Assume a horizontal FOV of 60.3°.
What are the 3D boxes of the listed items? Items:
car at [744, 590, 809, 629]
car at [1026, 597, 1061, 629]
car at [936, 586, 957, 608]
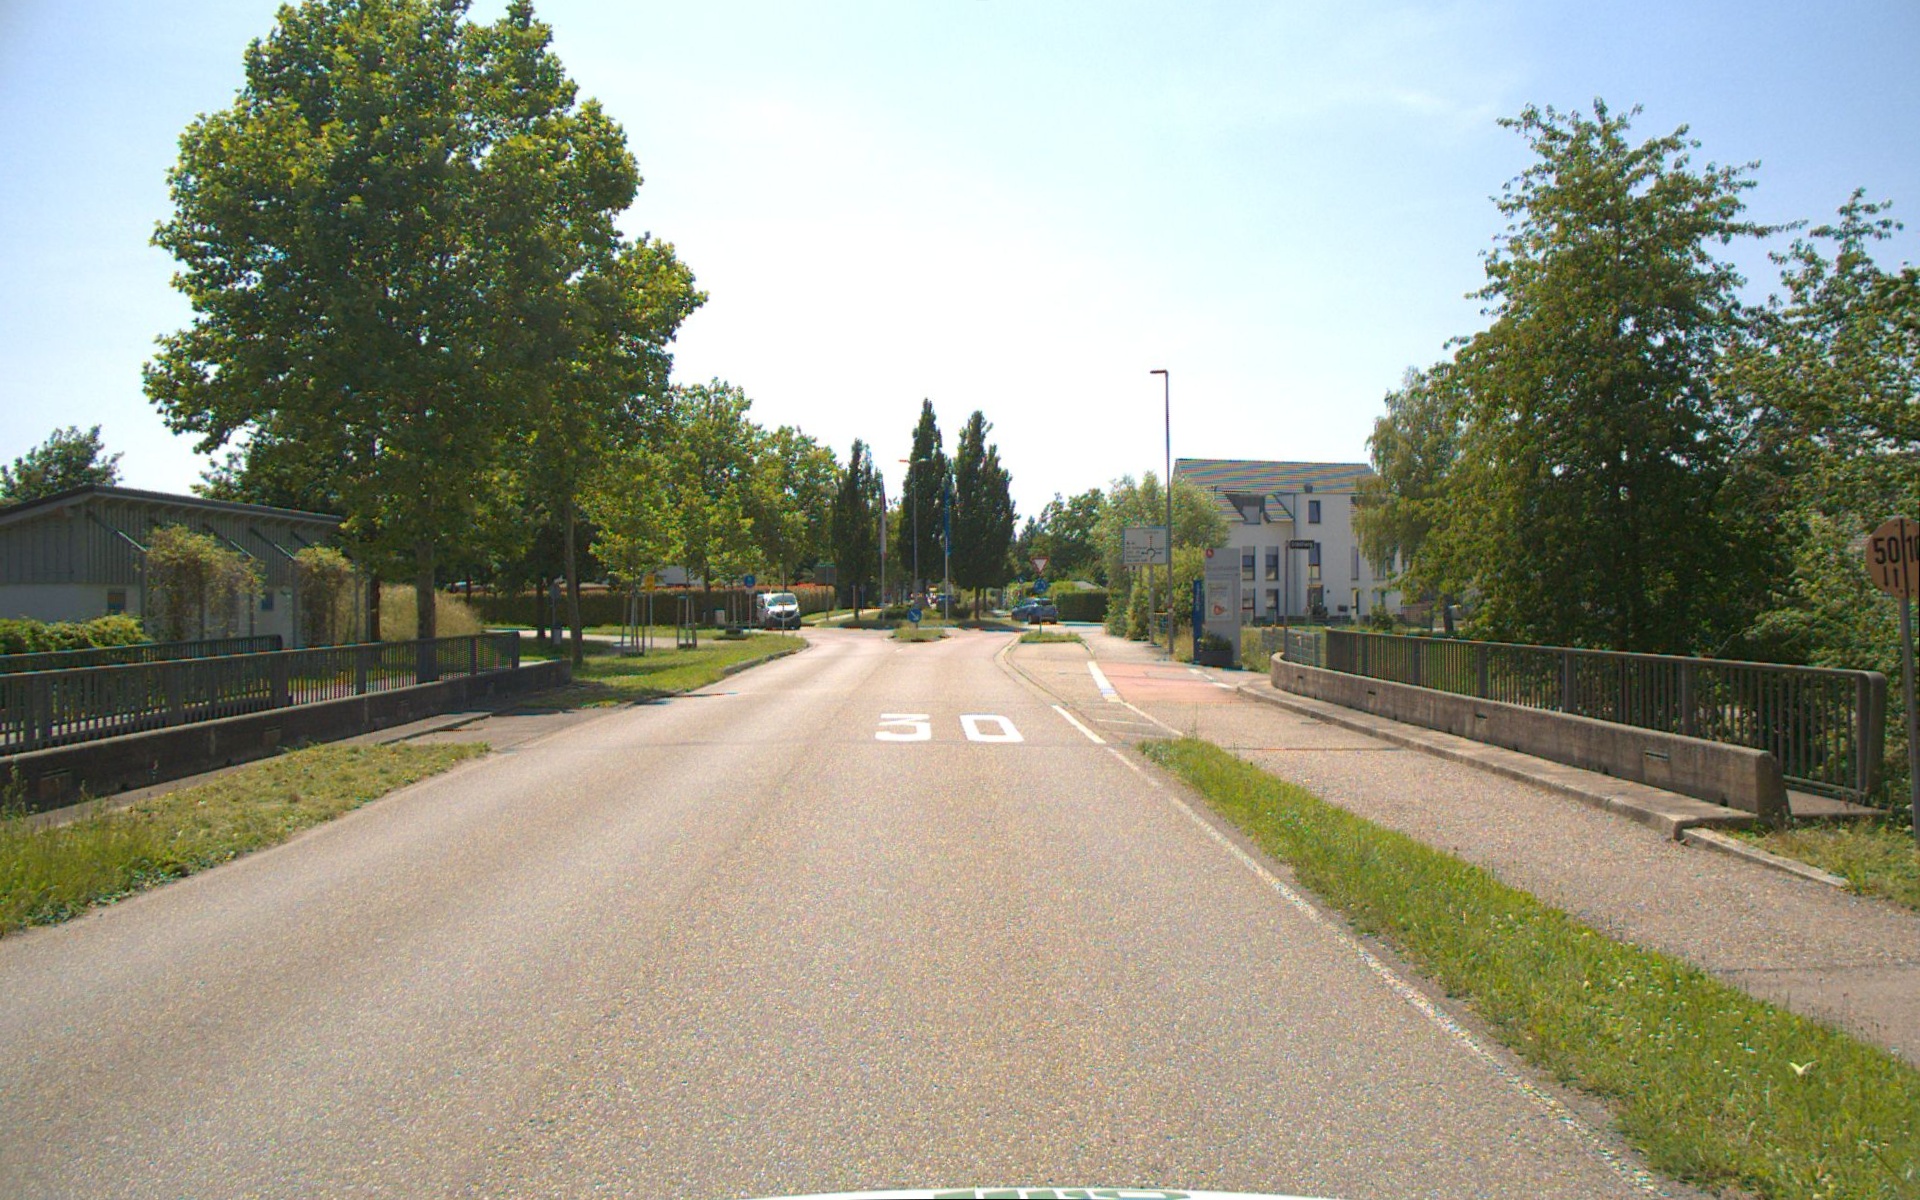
[{"bbox_3d":[-10.171,0.519,91.423,2.100,2.049,5.110,1,0,-24],"label":"car"},{"bbox_3d":[5.152,0.777,102.538,1.884,1.919,3.999,1,0,-1],"label":"car"},{"bbox_3d":[-1.292,-0.248,156.771,1.953,1.801,3.999,1,-3,0],"label":"car"}]
